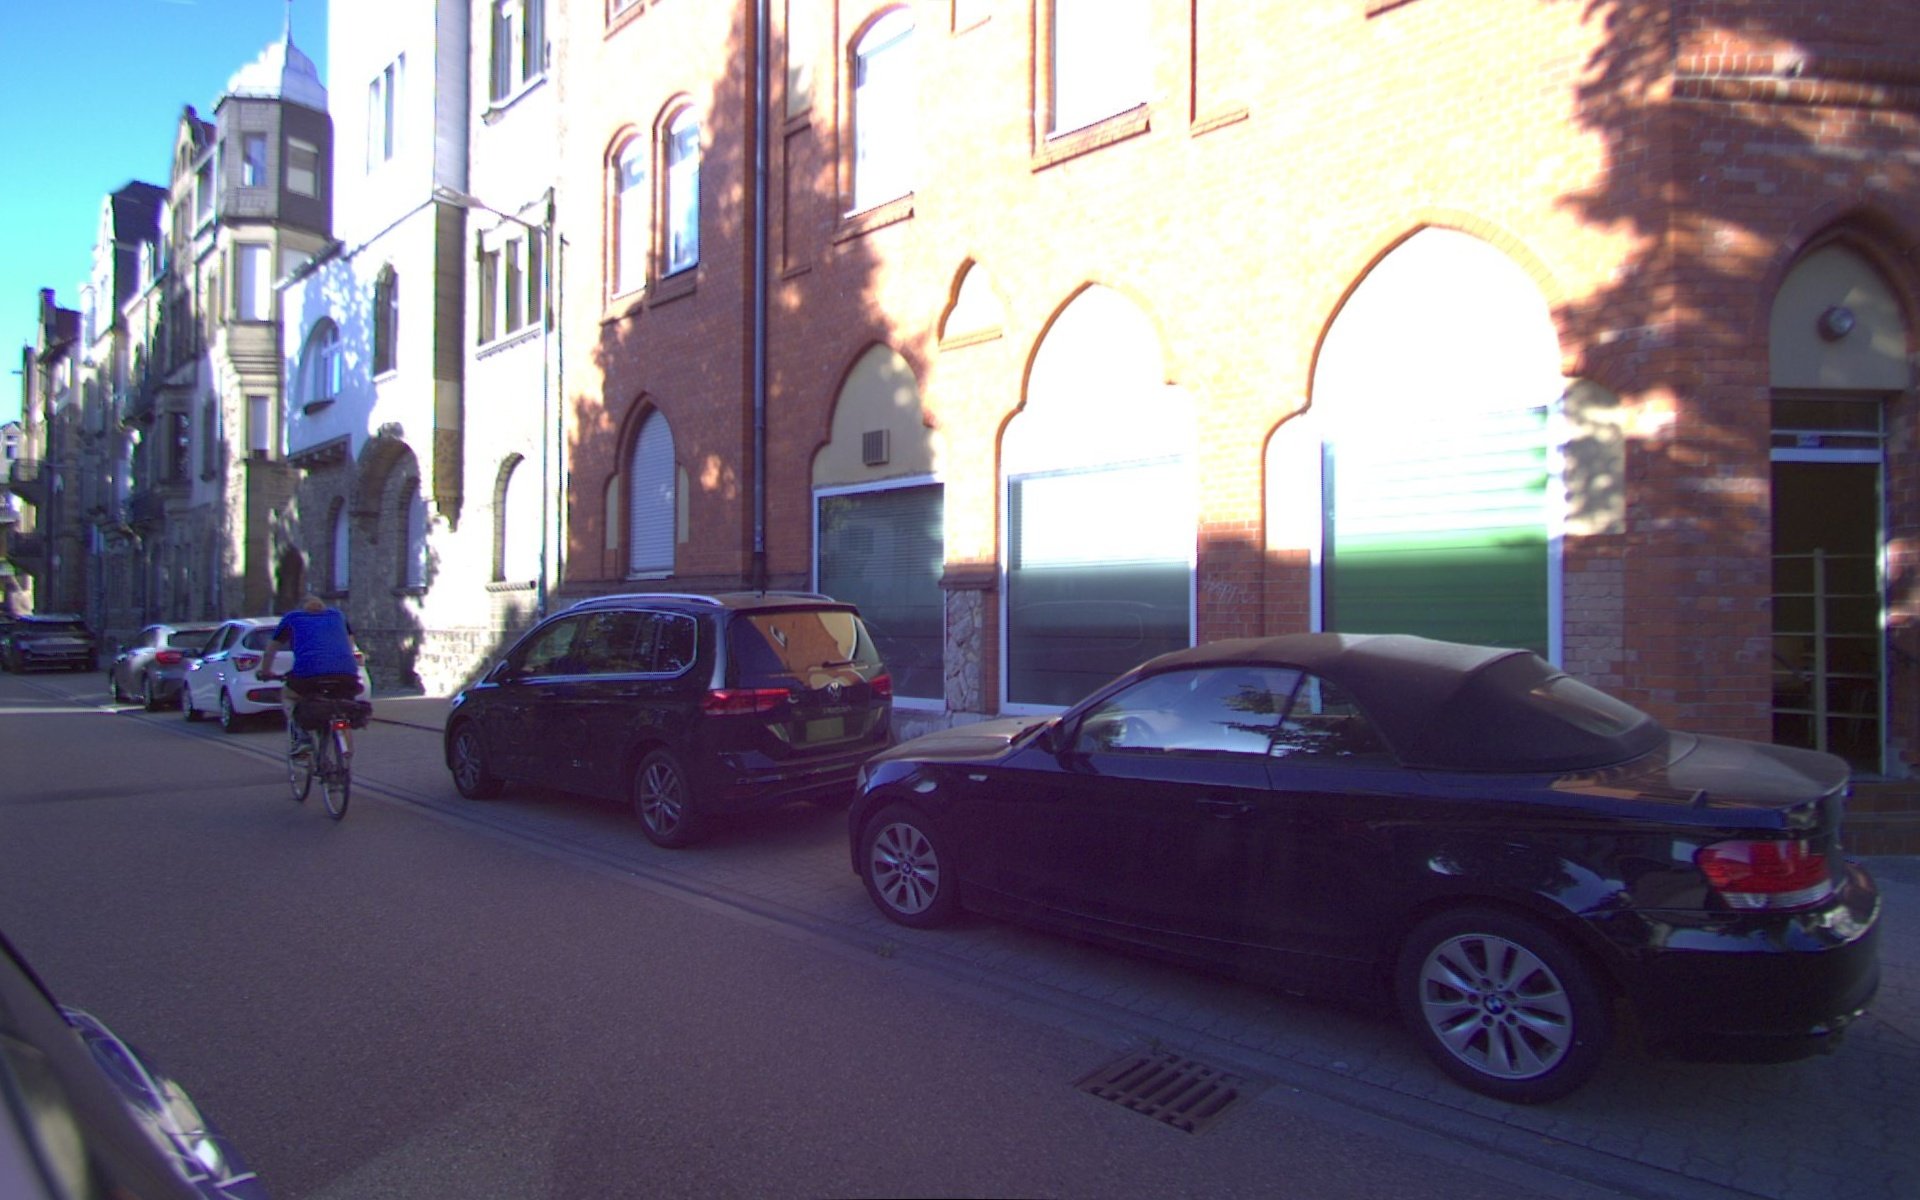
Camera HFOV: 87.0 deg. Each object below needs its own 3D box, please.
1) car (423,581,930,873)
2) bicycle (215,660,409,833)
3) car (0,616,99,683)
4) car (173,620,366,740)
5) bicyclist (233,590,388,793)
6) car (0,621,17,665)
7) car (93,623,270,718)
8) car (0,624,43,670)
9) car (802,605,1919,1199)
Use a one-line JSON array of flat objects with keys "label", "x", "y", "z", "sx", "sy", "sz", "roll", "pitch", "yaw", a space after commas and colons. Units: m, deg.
[{"label": "car", "x": -2.407, "y": 0.758, "z": 7.910, "sx": 4.346, "sy": 1.693, "sz": 1.652, "roll": -1, "pitch": -1, "yaw": 40}, {"label": "bicycle", "x": -5.083, "y": 1.061, "z": 7.895, "sx": 1.906, "sy": 1.116, "sz": 0.750, "roll": 0, "pitch": -2, "yaw": 41}, {"label": "car", "x": -25.917, "y": 1.334, "z": 28.592, "sx": 4.337, "sy": 1.730, "sz": 1.856, "roll": -2, "pitch": -1, "yaw": 41}, {"label": "car", "x": -9.945, "y": 1.053, "z": 14.481, "sx": 3.591, "sy": 1.481, "sz": 1.549, "roll": -2, "pitch": -1, "yaw": 43}, {"label": "bicyclist", "x": -5.073, "y": 0.671, "z": 7.901, "sx": 0.948, "sy": 1.465, "sz": 0.751, "roll": 0, "pitch": -2, "yaw": 41}, {"label": "car", "x": -39.522, "y": 1.717, "z": 40.841, "sx": 4.210, "sy": 1.680, "sz": 1.751, "roll": 0, "pitch": -1, "yaw": 41}, {"label": "car", "x": -13.796, "y": 1.169, "z": 17.855, "sx": 4.108, "sy": 1.454, "sz": 1.659, "roll": -2, "pitch": -1, "yaw": 40}, {"label": "car", "x": -34.575, "y": 1.652, "z": 36.468, "sx": 4.210, "sy": 1.512, "sz": 1.751, "roll": 0, "pitch": -1, "yaw": 41}, {"label": "car", "x": 1.346, "y": 0.768, "z": 4.402, "sx": 4.331, "sy": 1.421, "sz": 1.618, "roll": -1, "pitch": 1, "yaw": 42}]
